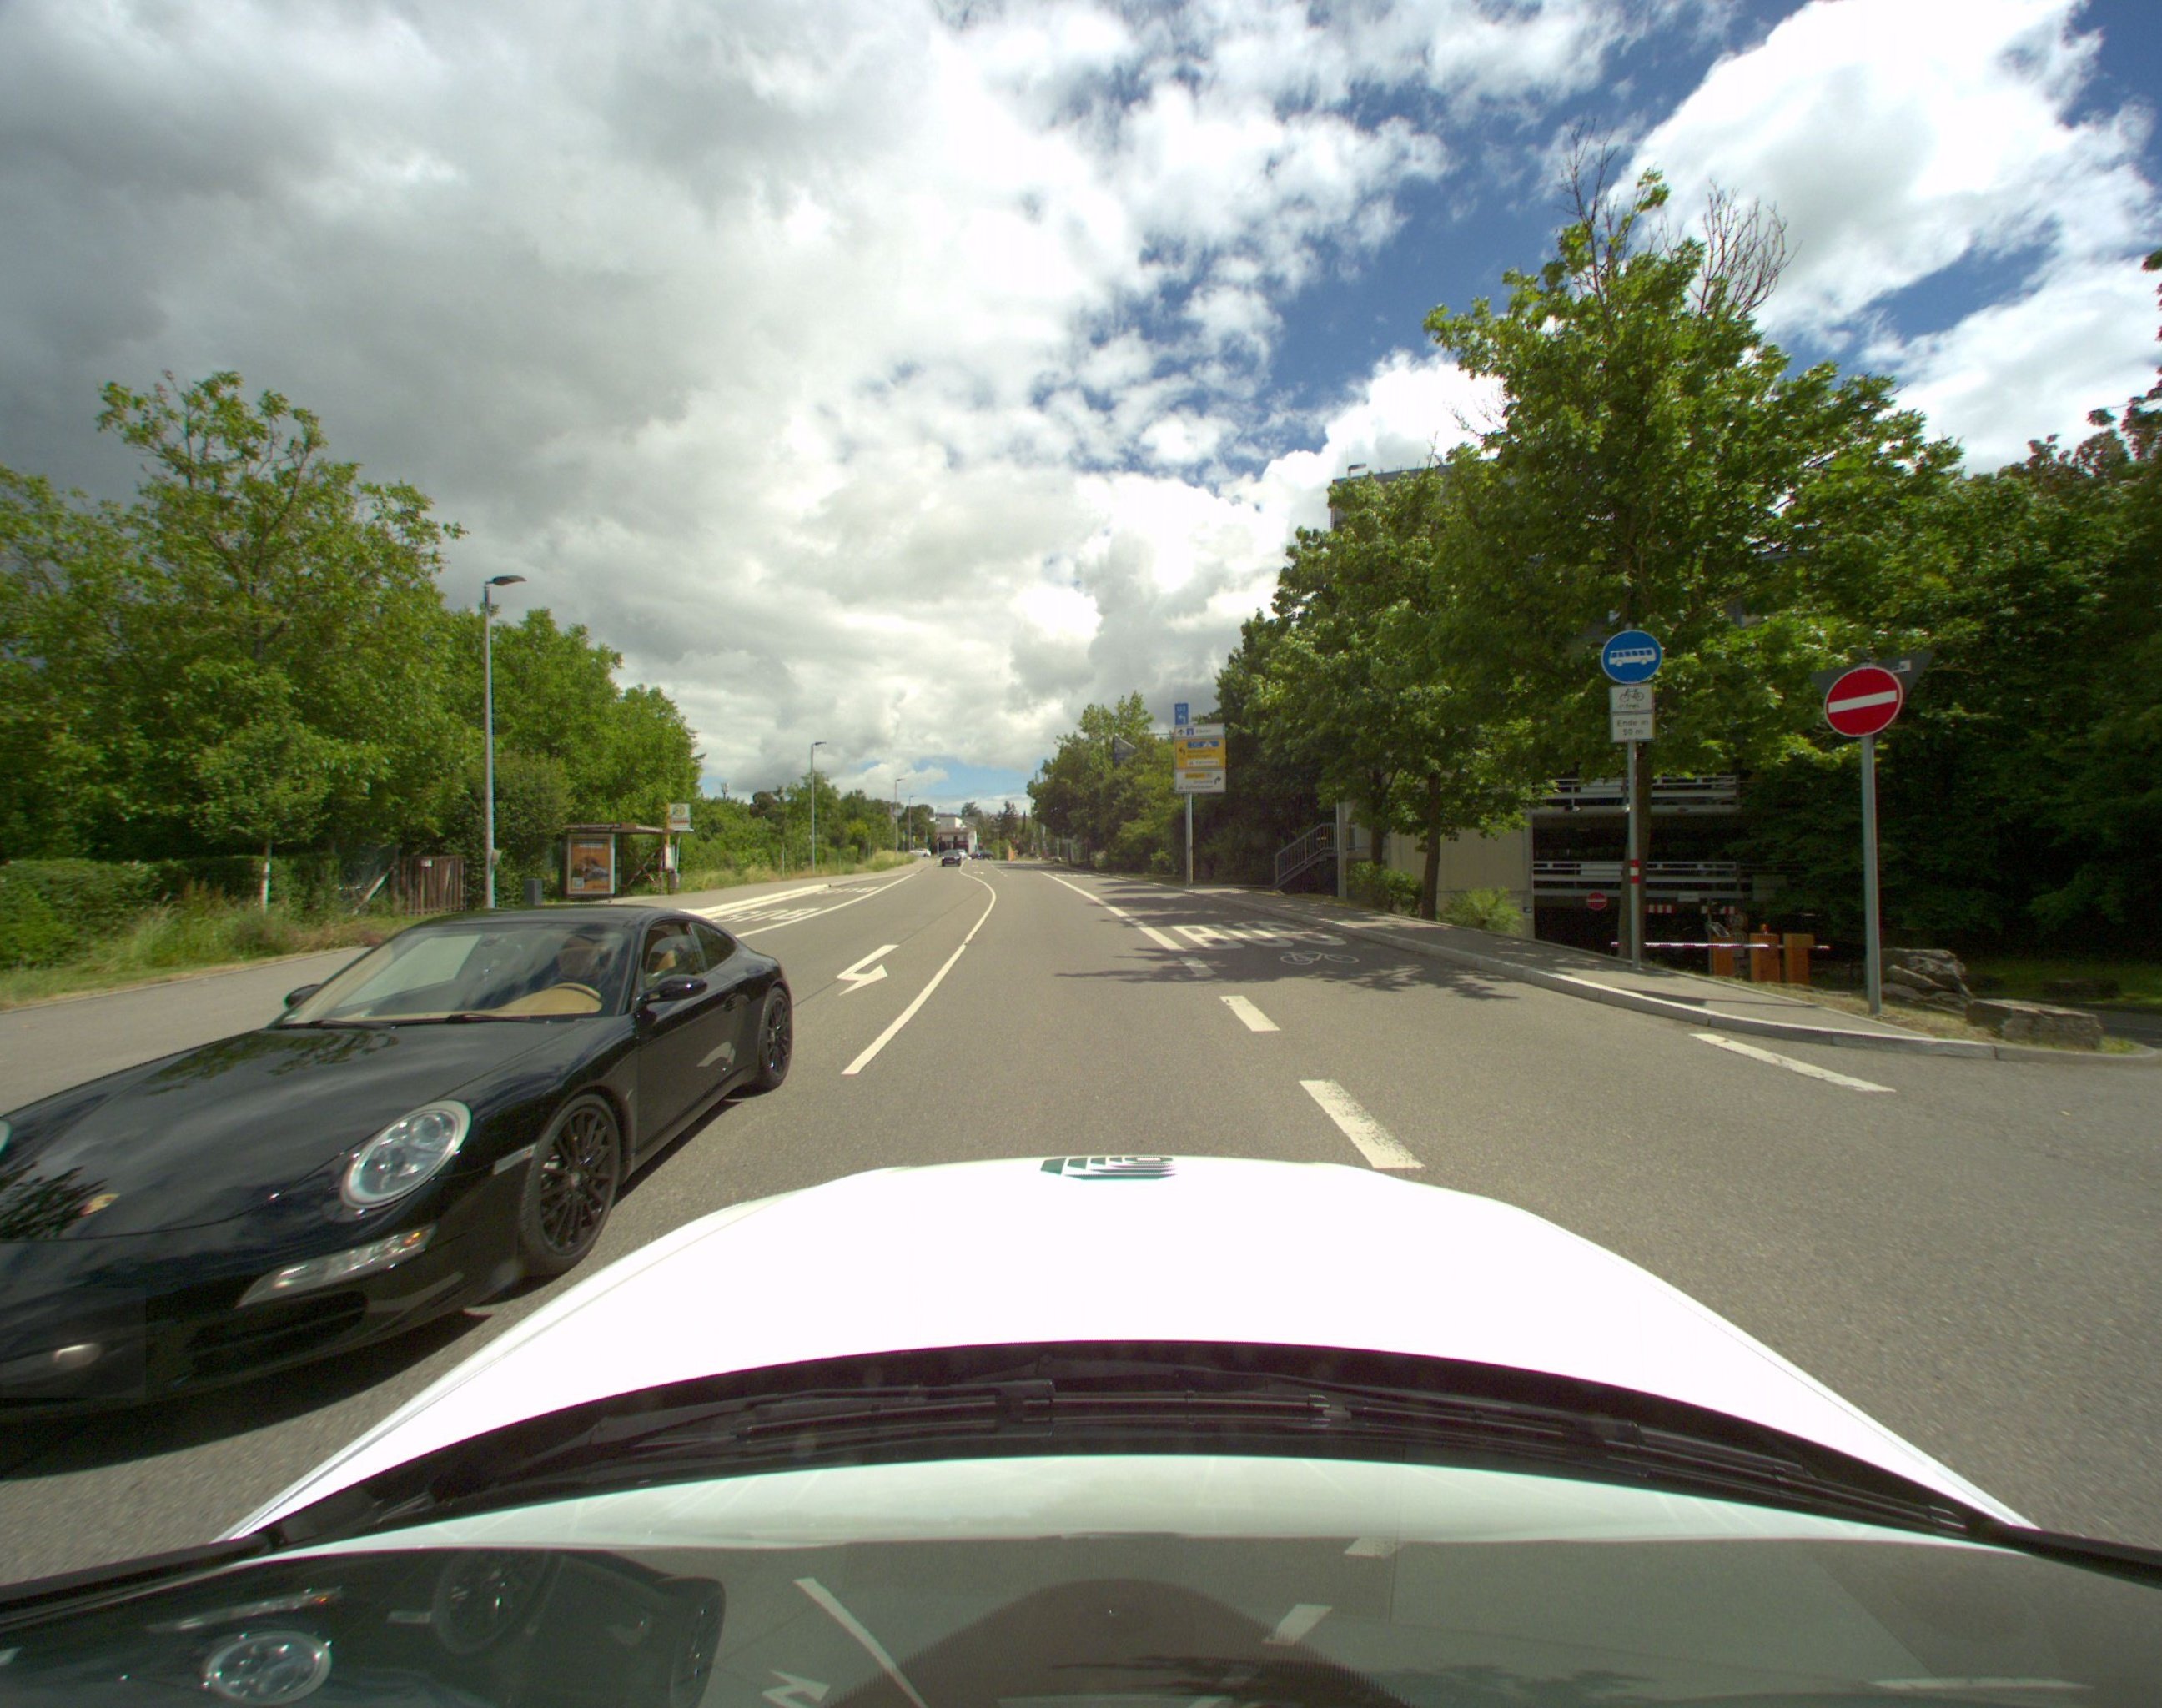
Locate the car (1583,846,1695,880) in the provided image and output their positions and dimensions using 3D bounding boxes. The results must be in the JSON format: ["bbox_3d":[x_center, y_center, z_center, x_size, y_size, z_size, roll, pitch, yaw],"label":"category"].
[{"bbox_3d":[27.861,0.436,40.848,4.277,1.630,2.010,-1,0,21],"label":"car"}]

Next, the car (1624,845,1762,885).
[{"bbox_3d":[25.702,0.447,34.386,4.277,1.630,2.010,-1,0,21],"label":"car"}]

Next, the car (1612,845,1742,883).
[{"bbox_3d":[26.446,0.440,36.327,4.277,1.630,2.010,-1,0,21],"label":"car"}]

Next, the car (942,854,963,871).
[{"bbox_3d":[-12.910,0.833,81.609,1.823,1.557,4.611,-2,1,-11],"label":"car"}]

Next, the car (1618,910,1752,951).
[{"bbox_3d":[26.050,3.280,35.324,4.277,1.489,2.010,-1,0,21],"label":"car"}]

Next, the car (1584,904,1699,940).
[{"bbox_3d":[27.292,3.280,39.812,4.277,1.489,2.010,-1,0,21],"label":"car"}]

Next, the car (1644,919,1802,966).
[{"bbox_3d":[23.948,3.278,30.584,4.277,1.418,2.010,-1,0,21],"label":"car"}]

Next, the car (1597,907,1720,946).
[{"bbox_3d":[26.457,3.303,37.483,4.277,1.489,2.010,-1,0,21],"label":"car"}]

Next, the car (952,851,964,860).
[{"bbox_3d":[-19.080,0.248,126.767,1.765,1.442,3.888,-2,0,-9],"label":"car"}]

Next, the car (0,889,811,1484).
[{"bbox_3d":[-2.762,0.930,4.046,1.731,1.301,3.998,-2,0,-4],"label":"car"}]

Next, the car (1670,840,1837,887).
[{"bbox_3d":[24.480,0.341,29.852,4.277,1.630,2.010,-1,0,21],"label":"car"}]

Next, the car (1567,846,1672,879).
[{"bbox_3d":[28.341,0.444,43.015,4.277,1.630,2.010,-1,0,21],"label":"car"}]

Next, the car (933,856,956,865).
[{"bbox_3d":[-26.120,1.246,155.685,3.976,1.712,1.894,-2,0,-2],"label":"car"}]

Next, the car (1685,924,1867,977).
[{"bbox_3d":[23.442,3.240,27.674,4.277,1.418,2.010,-1,0,21],"label":"car"}]

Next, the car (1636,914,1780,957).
[{"bbox_3d":[25.474,3.288,33.290,4.277,1.418,2.010,-1,0,21],"label":"car"}]

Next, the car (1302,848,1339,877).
[{"bbox_3d":[16.018,0.585,54.560,1.866,1.799,3.715,-3,-1,9],"label":"car"}]

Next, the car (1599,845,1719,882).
[{"bbox_3d":[27.082,0.437,38.334,4.277,1.630,2.010,-1,0,21],"label":"car"}]

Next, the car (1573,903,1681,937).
[{"bbox_3d":[27.986,3.368,41.902,4.277,1.489,2.010,-1,0,21],"label":"car"}]

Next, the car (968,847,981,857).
[{"bbox_3d":[-18.560,-0.369,141.437,1.817,1.654,4.528,-1,0,-3],"label":"car"}]

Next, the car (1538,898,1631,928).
[{"bbox_3d":[29.029,3.400,47.105,4.277,1.489,2.010,-1,0,21],"label":"car"}]

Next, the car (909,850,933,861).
[{"bbox_3d":[-29.872,0.271,151.820,3.973,1.903,2.001,-2,0,1],"label":"car"}]
